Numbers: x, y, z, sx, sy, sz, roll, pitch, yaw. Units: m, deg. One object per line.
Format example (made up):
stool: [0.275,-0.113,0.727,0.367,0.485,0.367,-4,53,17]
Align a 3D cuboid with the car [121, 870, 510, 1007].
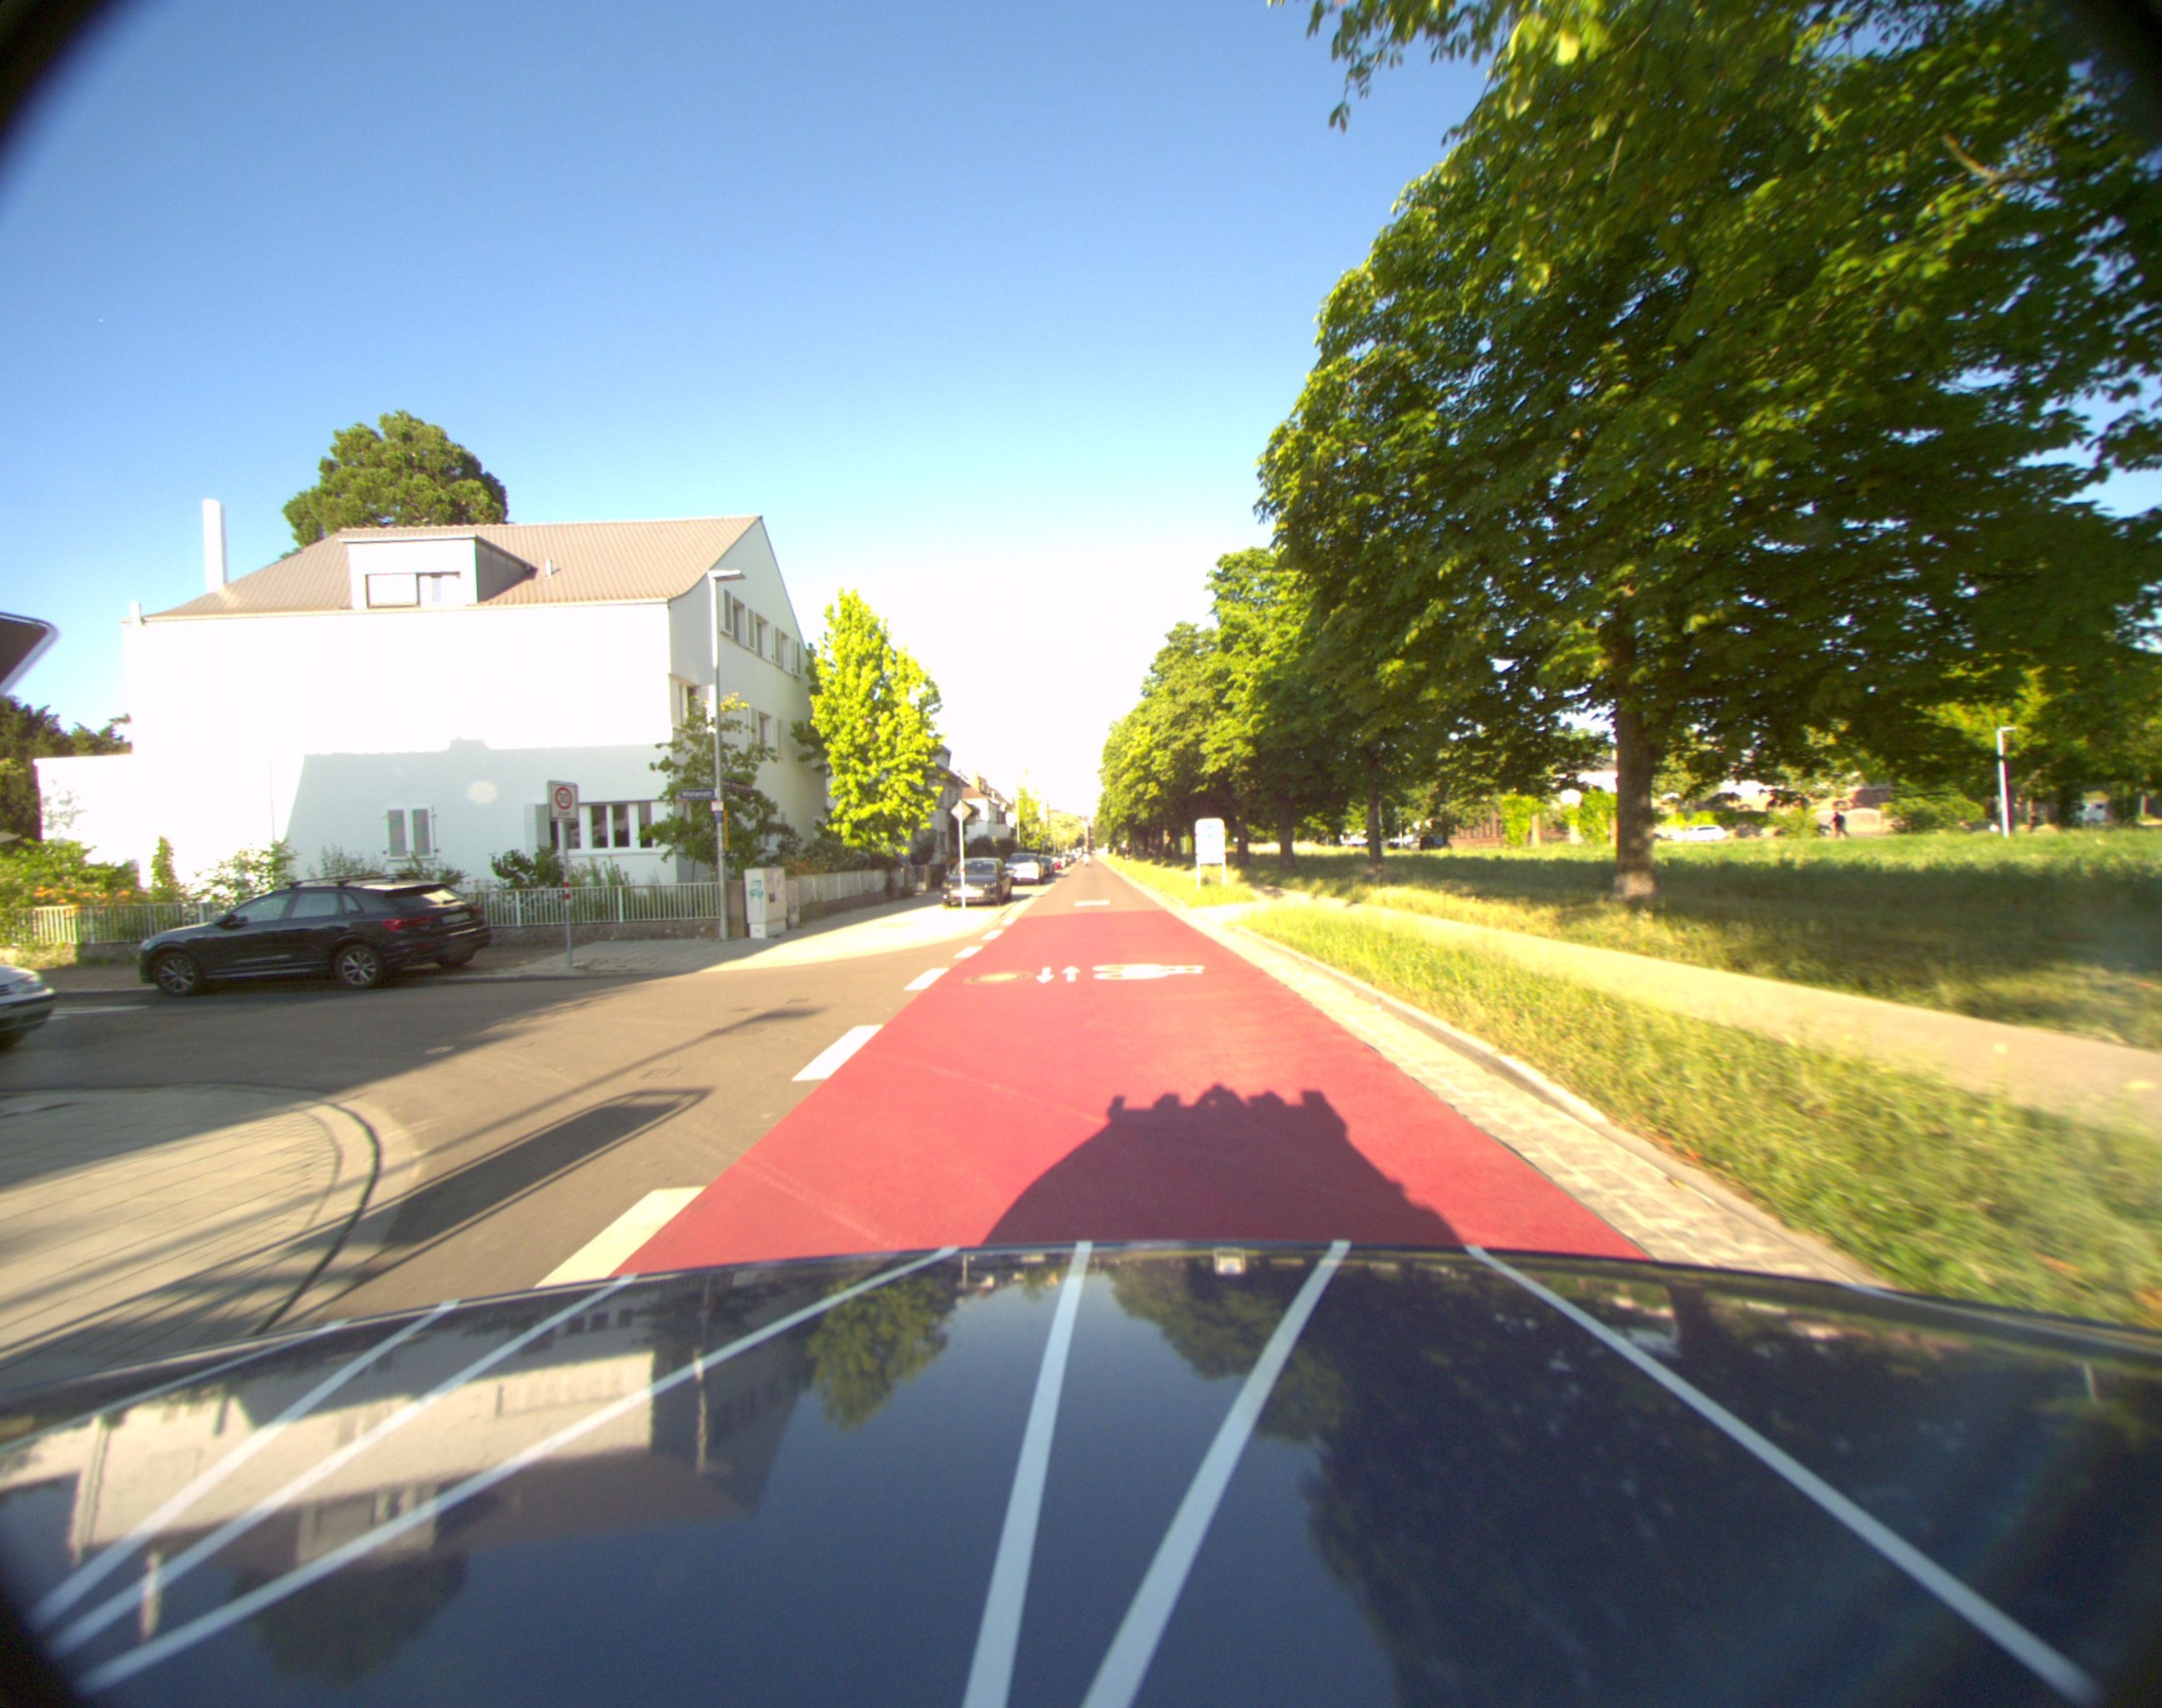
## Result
car: [-11.973,1.267,12.139,4.100,1.679,1.893,-4,2,-1]

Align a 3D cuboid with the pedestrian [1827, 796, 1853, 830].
pedestrian: [40.000,-2.170,40.048,0.778,1.714,0.714,-5,2,-27]

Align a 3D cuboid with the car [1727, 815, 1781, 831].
car: [63.776,-2.887,72.034,3.636,1.273,1.586,-4,2,2]

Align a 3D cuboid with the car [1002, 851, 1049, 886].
car: [-2.807,0.689,39.587,1.910,1.698,4.575,0,0,2]

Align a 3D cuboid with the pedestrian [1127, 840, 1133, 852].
pedestrian: [7.234,-1.189,111.992,0.625,1.841,0.606,-2,3,40]

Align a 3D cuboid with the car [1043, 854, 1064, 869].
car: [-2.600,0.690,72.575,1.702,1.250,3.879,-2,1,1]

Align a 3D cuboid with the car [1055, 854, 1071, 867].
car: [-2.157,0.771,91.425,1.746,1.471,4.056,-3,1,0]

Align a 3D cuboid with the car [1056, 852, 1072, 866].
car: [-1.830,0.549,82.739,1.508,1.471,3.492,-1,1,1]

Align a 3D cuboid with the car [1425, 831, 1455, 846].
car: [43.480,-1.890,92.073,1.766,1.619,3.999,-3,1,1]

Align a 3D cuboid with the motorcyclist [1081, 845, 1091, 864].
motorcyclist: [0.568,0.039,82.811,0.961,2.002,1.273,-4,2,0]

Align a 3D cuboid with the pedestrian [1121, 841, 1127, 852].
pedestrian: [6.388,-1.064,112.517,0.625,1.621,0.606,-3,2,27]

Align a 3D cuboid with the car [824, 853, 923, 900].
car: [-9.439,1.019,34.854,3.994,1.834,1.815,-4,0,-5]

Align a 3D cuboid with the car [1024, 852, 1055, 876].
car: [-2.746,0.652,51.263,1.798,1.485,4.193,0,1,1]

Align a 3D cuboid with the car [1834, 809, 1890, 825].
car: [74.991,-3.551,72.943,3.636,1.273,1.586,-4,2,2]

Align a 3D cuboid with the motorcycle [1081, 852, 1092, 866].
motorcycle: [0.606,0.531,82.987,1.077,1.373,2.463,-4,1,0]

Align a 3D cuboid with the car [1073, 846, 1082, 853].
car: [-0.840,-0.997,177.113,1.844,1.471,3.763,-3,1,0]

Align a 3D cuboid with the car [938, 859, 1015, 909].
car: [-3.233,0.887,24.336,1.798,1.474,4.124,0,0,2]

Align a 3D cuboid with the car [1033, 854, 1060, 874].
car: [-2.590,0.727,57.697,1.798,1.372,4.078,0,1,1]

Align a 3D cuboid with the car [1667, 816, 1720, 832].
car: [57.465,-2.788,71.346,3.636,1.273,1.586,-4,2,2]

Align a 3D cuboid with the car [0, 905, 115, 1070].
car: [-12.120,1.411,6.891,4.082,1.462,1.893,-4,2,-1]

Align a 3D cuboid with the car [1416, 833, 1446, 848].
car: [37.317,-1.418,81.103,1.585,1.473,3.639,-4,1,1]
